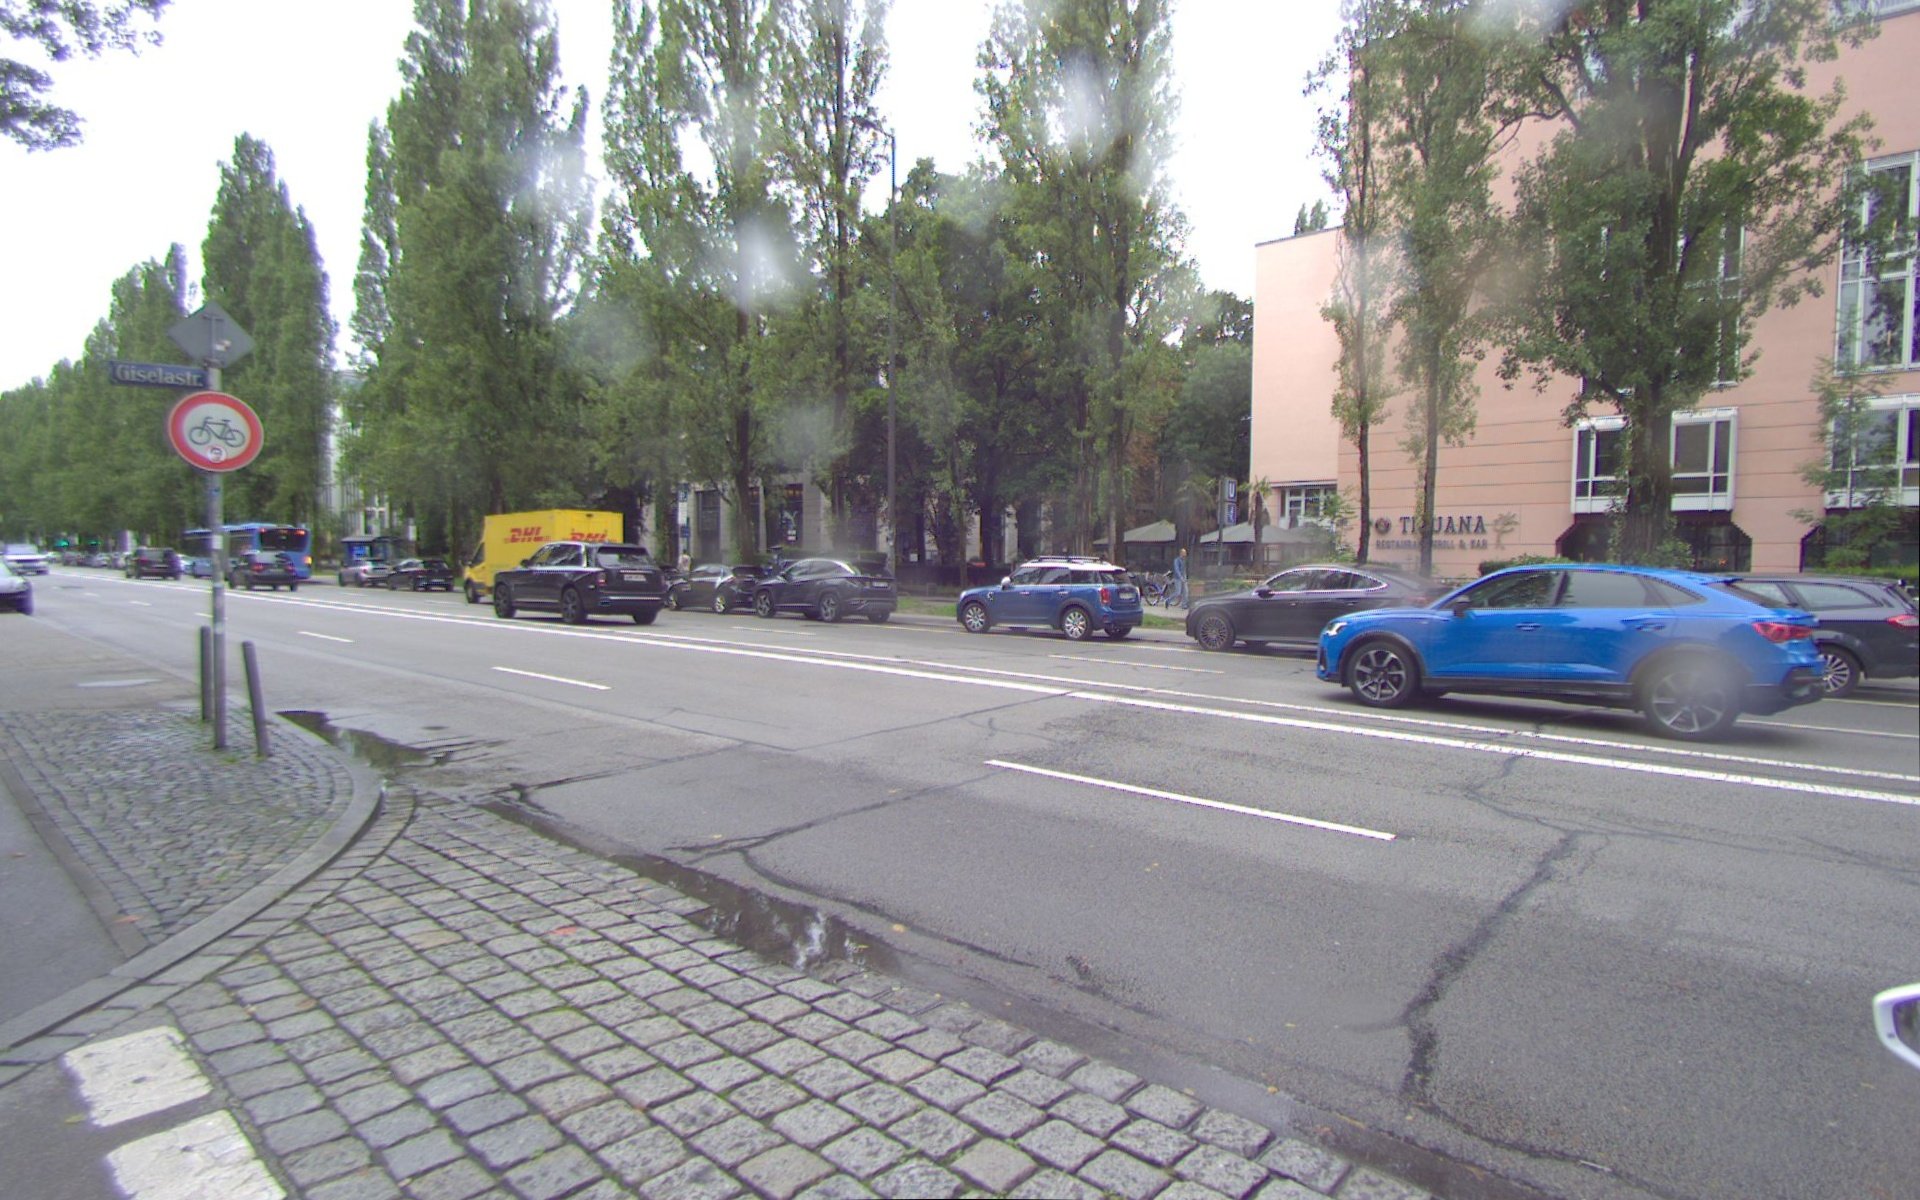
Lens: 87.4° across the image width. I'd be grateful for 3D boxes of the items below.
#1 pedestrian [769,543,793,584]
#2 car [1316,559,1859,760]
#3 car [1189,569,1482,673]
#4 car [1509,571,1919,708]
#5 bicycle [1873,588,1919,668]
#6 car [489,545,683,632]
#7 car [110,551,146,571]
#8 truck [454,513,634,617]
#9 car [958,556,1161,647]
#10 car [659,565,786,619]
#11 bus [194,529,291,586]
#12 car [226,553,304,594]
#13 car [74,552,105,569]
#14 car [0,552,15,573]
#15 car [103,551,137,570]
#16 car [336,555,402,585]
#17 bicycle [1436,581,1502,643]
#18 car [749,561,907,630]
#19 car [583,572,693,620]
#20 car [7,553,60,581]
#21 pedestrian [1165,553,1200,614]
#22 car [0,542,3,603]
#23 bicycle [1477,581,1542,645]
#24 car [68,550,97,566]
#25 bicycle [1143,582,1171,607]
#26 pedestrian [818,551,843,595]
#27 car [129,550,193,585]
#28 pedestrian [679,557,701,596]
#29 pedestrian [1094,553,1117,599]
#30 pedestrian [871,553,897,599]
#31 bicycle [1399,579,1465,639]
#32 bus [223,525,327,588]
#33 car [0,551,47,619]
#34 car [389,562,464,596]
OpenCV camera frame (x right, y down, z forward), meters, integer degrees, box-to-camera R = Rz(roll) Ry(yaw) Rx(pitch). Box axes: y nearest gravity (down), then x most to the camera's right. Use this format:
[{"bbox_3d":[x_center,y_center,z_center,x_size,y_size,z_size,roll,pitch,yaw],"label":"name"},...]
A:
[{"bbox_3d":[-7.701,-1.577,43.188,0.721,1.737,0.705,3,4,42],"label":"pedestrian"},{"bbox_3d":[6.139,0.423,10.219,4.356,1.600,1.863,2,2,40],"label":"car"},{"bbox_3d":[6.444,0.251,17.572,4.449,1.549,1.783,2,3,42],"label":"car"},{"bbox_3d":[10.363,0.406,13.892,4.556,1.549,1.783,2,3,42],"label":"car"},{"bbox_3d":[14.727,0.412,15.670,0.666,1.139,1.732,2,3,42],"label":"bicycle"},{"bbox_3d":[-8.643,-0.329,22.996,4.987,1.772,1.990,2,3,40],"label":"car"},{"bbox_3d":[-77.159,-3.638,93.160,4.286,1.745,1.989,3,2,43],"label":"car"},{"bbox_3d":[-13.267,-1.141,31.744,6.979,2.947,2.586,3,3,43],"label":"truck"},{"bbox_3d":[2.059,-0.035,21.464,4.017,1.755,1.785,2,2,41],"label":"car"},{"bbox_3d":[-6.991,-0.280,29.395,3.825,1.431,1.783,3,3,42],"label":"car"},{"bbox_3d":[-42.734,-2.500,59.691,9.660,3.093,2.909,2,3,44],"label":"bus"},{"bbox_3d":[-27.785,-1.076,40.128,3.699,1.548,1.838,3,3,43],"label":"car"},{"bbox_3d":[-93.759,-4.306,108.166,4.286,1.745,1.989,3,2,43],"label":"car"},{"bbox_3d":[-75.622,-2.956,78.690,3.943,1.602,2.001,3,3,43],"label":"car"},{"bbox_3d":[-82.280,-3.855,98.367,4.286,1.745,1.989,3,2,43],"label":"car"},{"bbox_3d":[-29.547,-1.507,50.215,3.825,1.431,1.783,2,3,42],"label":"car"},{"bbox_3d":[10.132,0.205,19.948,0.666,1.139,1.978,2,3,42],"label":"bicycle"},{"bbox_3d":[-3.471,-0.183,26.002,4.175,1.622,1.783,2,3,42],"label":"car"},{"bbox_3d":[-10.568,-0.183,32.876,3.825,1.431,1.783,3,3,42],"label":"car"},{"bbox_3d":[-56.716,-2.040,61.452,3.943,1.602,2.001,3,6,43],"label":"car"},{"bbox_3d":[6.492,-0.489,29.299,0.721,1.737,0.705,3,4,42],"label":"pedestrian"},{"bbox_3d":[-29.737,-0.780,29.429,3.940,1.781,2.002,0,2,40],"label":"car"},{"bbox_3d":[10.662,0.227,19.463,0.666,1.139,1.978,2,3,42],"label":"bicycle"},{"bbox_3d":[-97.944,-4.720,112.137,4.286,1.745,1.989,3,2,43],"label":"car"},{"bbox_3d":[6.441,-0.186,32.820,1.021,0.809,0.321,-2,3,-42],"label":"bicycle"},{"bbox_3d":[-5.146,-1.077,39.992,0.721,1.737,0.705,3,4,42],"label":"pedestrian"},{"bbox_3d":[-42.886,-1.755,53.892,4.746,1.745,1.989,3,2,43],"label":"car"},{"bbox_3d":[-12.351,-1.082,46.021,0.721,1.737,0.705,3,4,42],"label":"pedestrian"},{"bbox_3d":[5.642,-0.932,38.990,0.873,1.737,0.738,1,3,8],"label":"pedestrian"},{"bbox_3d":[-2.916,-0.913,38.494,0.721,1.737,0.705,3,4,42],"label":"pedestrian"},{"bbox_3d":[9.616,0.158,20.435,0.666,1.139,1.978,2,3,42],"label":"bicycle"},{"bbox_3d":[-36.948,-2.316,54.062,8.399,3.093,2.909,2,3,44],"label":"bus"},{"bbox_3d":[-24.501,-0.420,25.219,3.943,1.602,2.001,3,3,43],"label":"car"},{"bbox_3d":[-24.026,-0.988,45.202,3.825,1.431,1.783,3,3,42],"label":"car"}]
